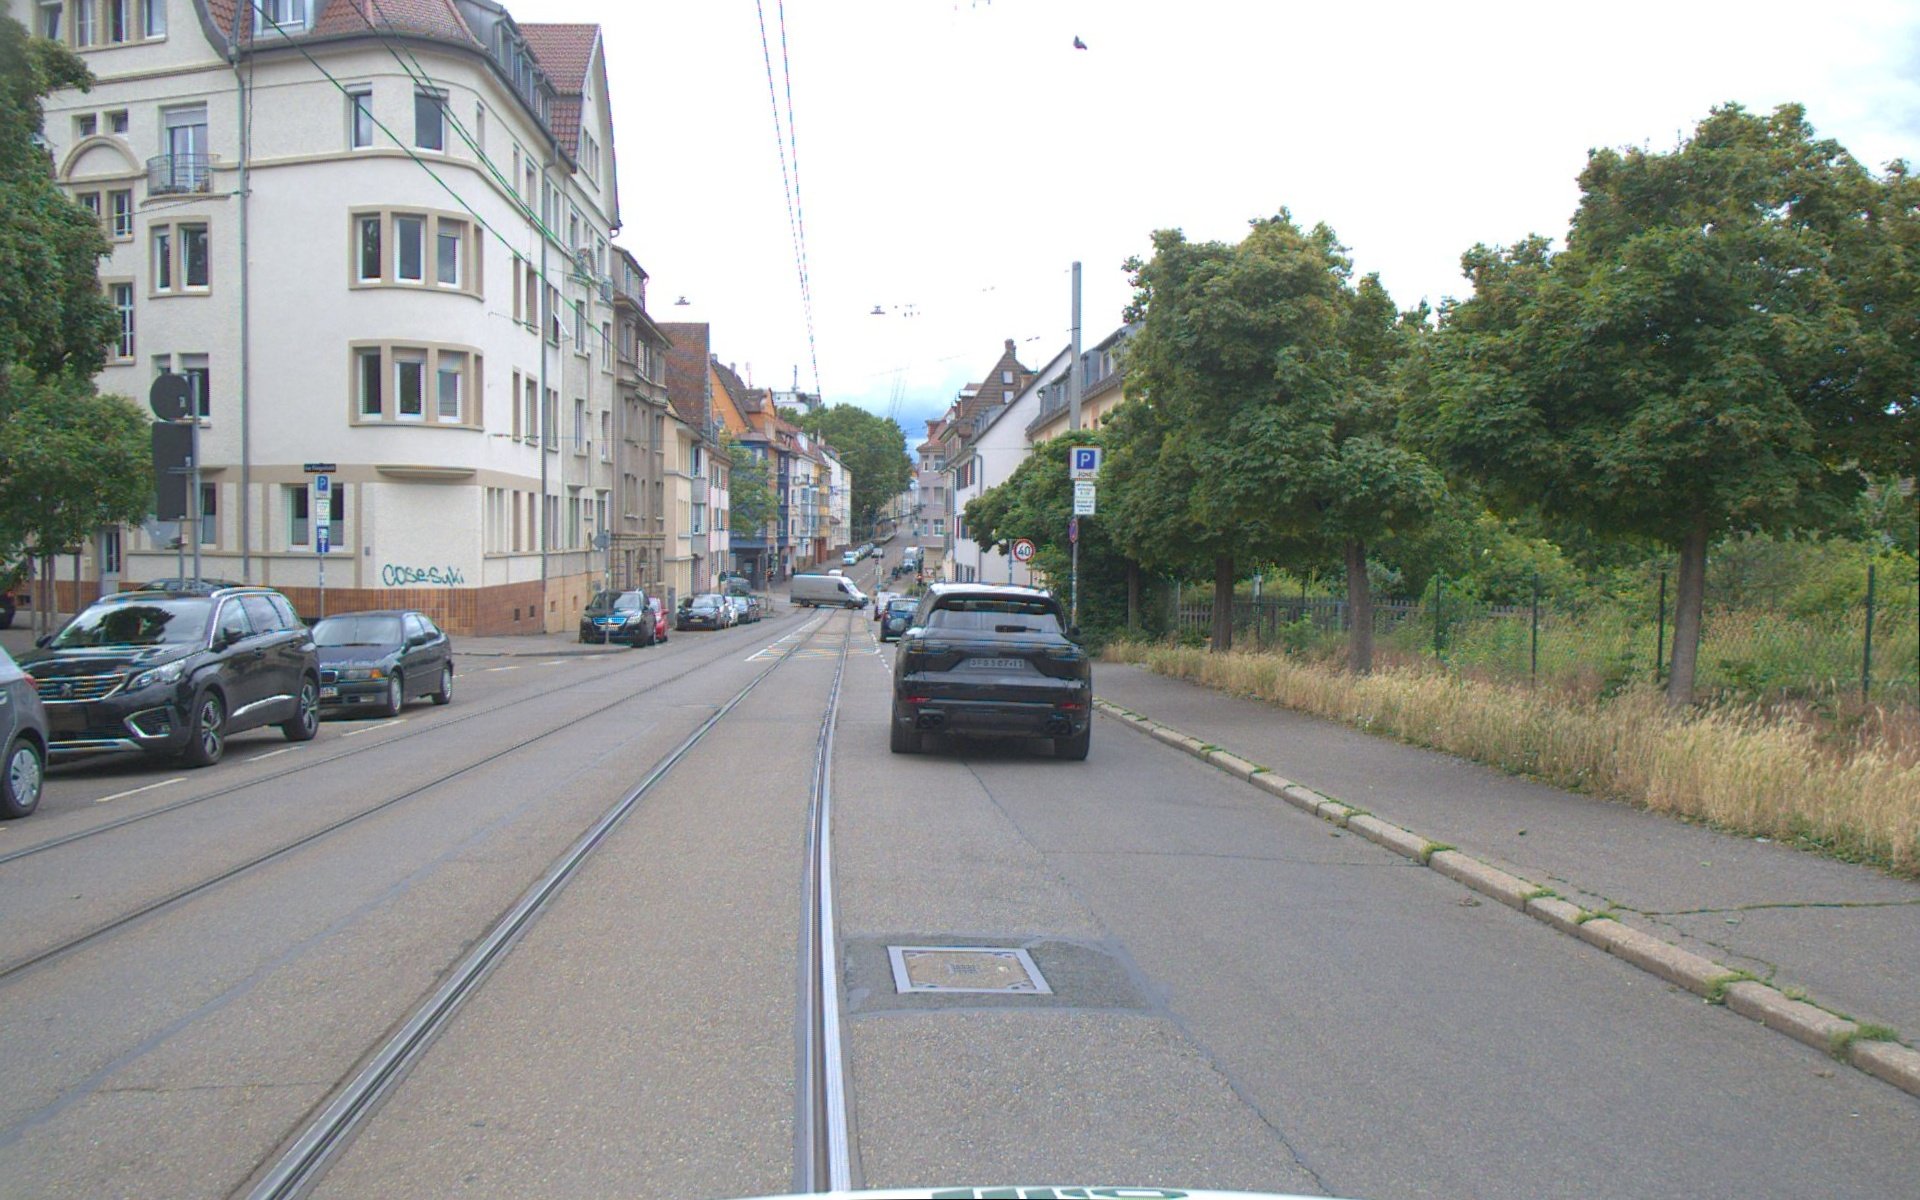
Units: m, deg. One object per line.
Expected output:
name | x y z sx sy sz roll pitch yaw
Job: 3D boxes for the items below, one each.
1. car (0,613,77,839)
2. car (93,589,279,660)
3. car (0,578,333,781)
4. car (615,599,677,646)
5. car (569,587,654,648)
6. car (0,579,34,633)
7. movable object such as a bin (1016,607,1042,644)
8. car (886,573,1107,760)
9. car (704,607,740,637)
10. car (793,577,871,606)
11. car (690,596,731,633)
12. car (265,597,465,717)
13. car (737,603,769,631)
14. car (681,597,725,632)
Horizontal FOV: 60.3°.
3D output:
car | -7.297 0.845 10.360 1.704 1.535 3.865 0 -1 -5
car | -18.461 0.562 39.453 3.906 1.599 1.876 0 0 23
car | -7.839 0.716 16.297 1.930 1.716 4.439 0 -1 -5
car | -10.200 0.746 53.887 1.589 1.489 3.741 0 -1 -5
car | -9.986 0.526 47.630 1.831 1.675 4.397 0 -1 -5
car | -26.067 0.143 42.565 3.906 1.378 1.876 0 0 23
movable object such as a bin | 2.374 0.881 57.146 0.777 1.239 0.788 0 -1 -7
car | 0.251 0.629 17.189 1.954 1.705 3.997 0 -1 -4
car | -11.986 1.112 83.414 1.589 1.489 3.681 0 -1 -5
car | -10.602 -0.728 137.068 6.155 2.331 2.200 0 -1 25
car | -11.615 0.701 77.315 1.589 1.632 4.346 0 -1 -5
car | -8.156 0.763 23.043 1.589 1.503 4.152 0 -1 -5
car | -11.462 0.971 91.843 1.589 1.499 4.551 0 -1 -5
car | -11.248 0.645 72.505 1.589 1.489 4.028 0 -1 -5
